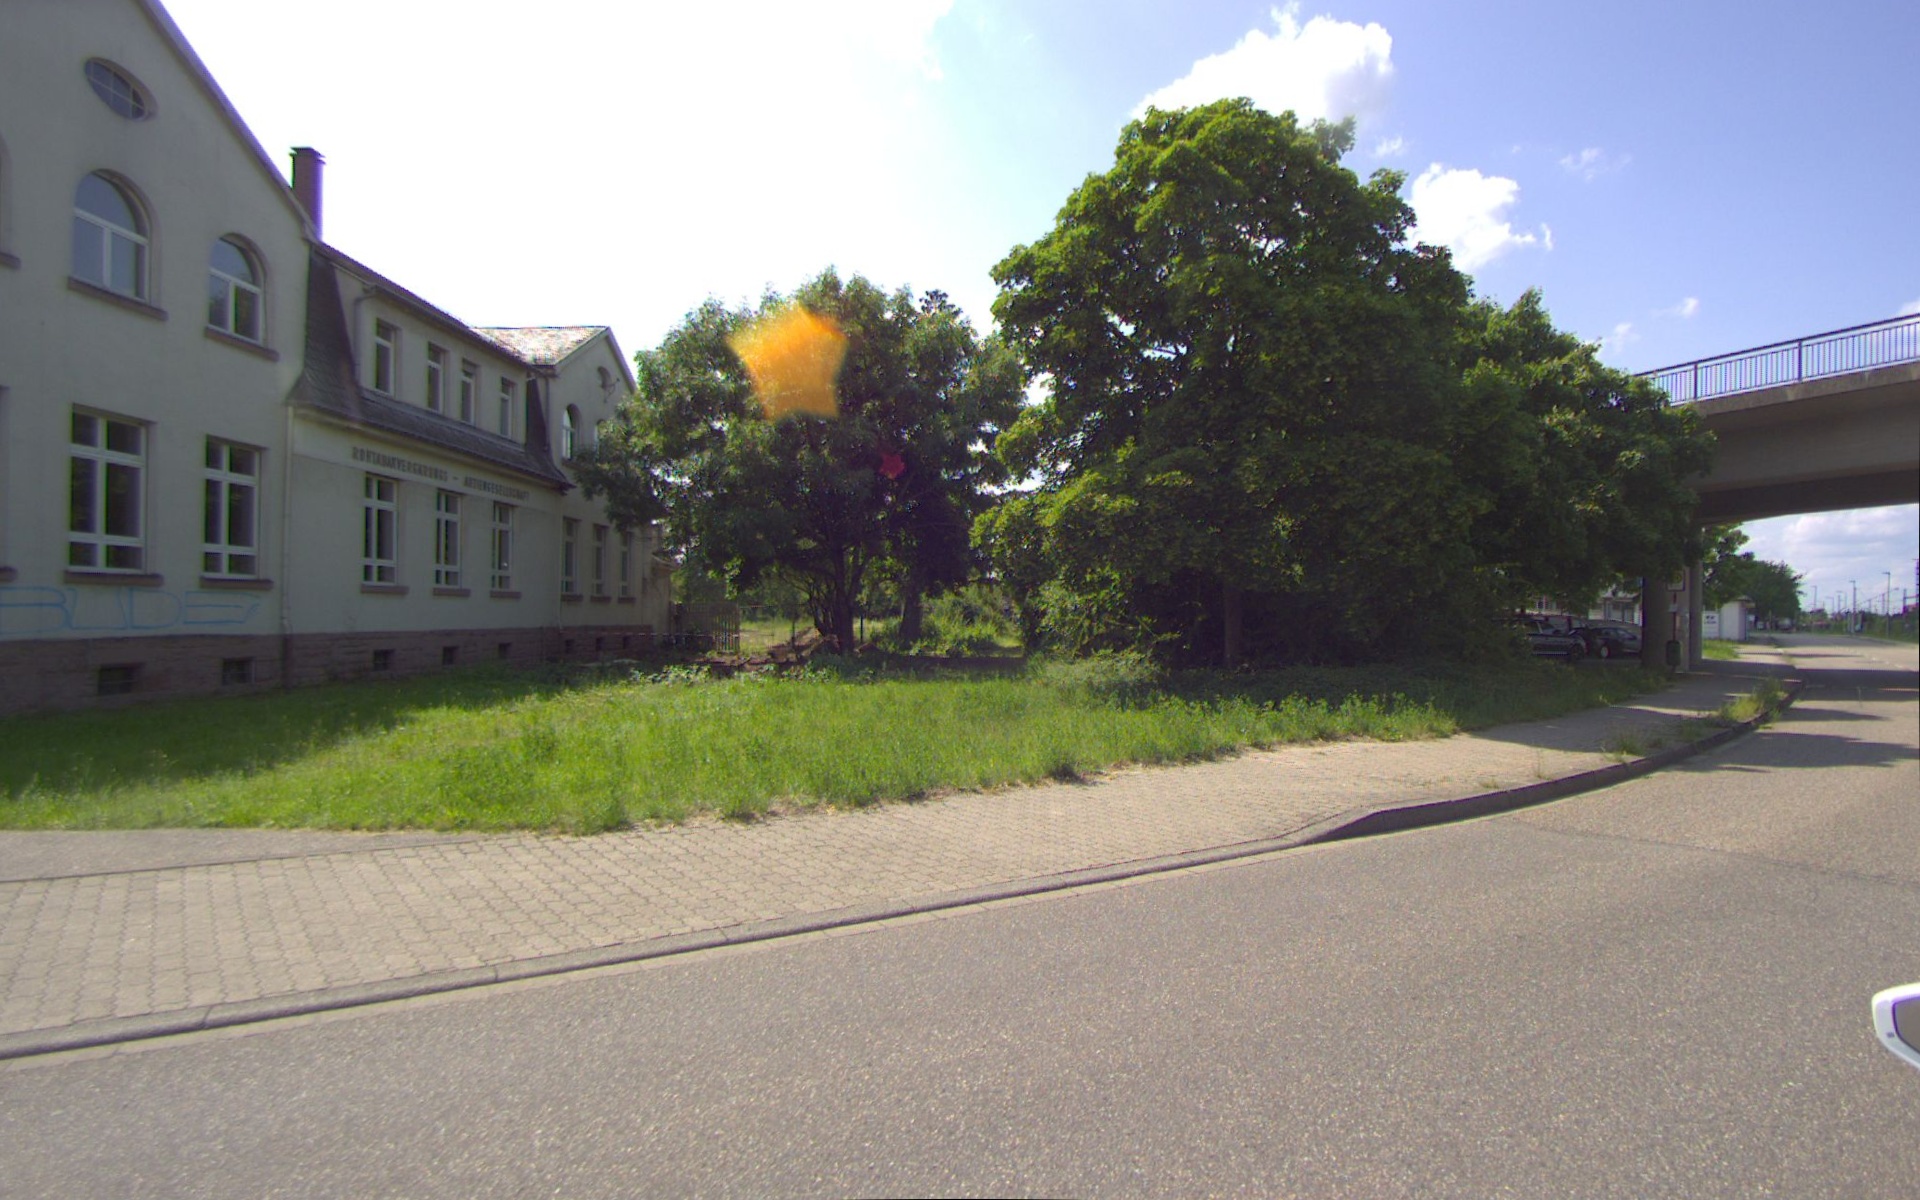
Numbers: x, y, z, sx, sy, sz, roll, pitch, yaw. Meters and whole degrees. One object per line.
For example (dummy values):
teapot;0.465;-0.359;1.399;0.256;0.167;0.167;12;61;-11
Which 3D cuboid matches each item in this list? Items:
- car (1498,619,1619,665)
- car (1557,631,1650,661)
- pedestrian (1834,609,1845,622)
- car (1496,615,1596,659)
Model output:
car;22.661;1.563;38.030;4.511;1.651;1.675;1;-2;-24
car;29.182;2.061;45.556;3.391;1.301;1.689;1;-1;-14
pedestrian;142.949;2.571;163.304;1.039;2.040;0.851;1;1;-1
car;28.230;1.768;48.420;3.889;2.040;1.943;1;-1;-13
